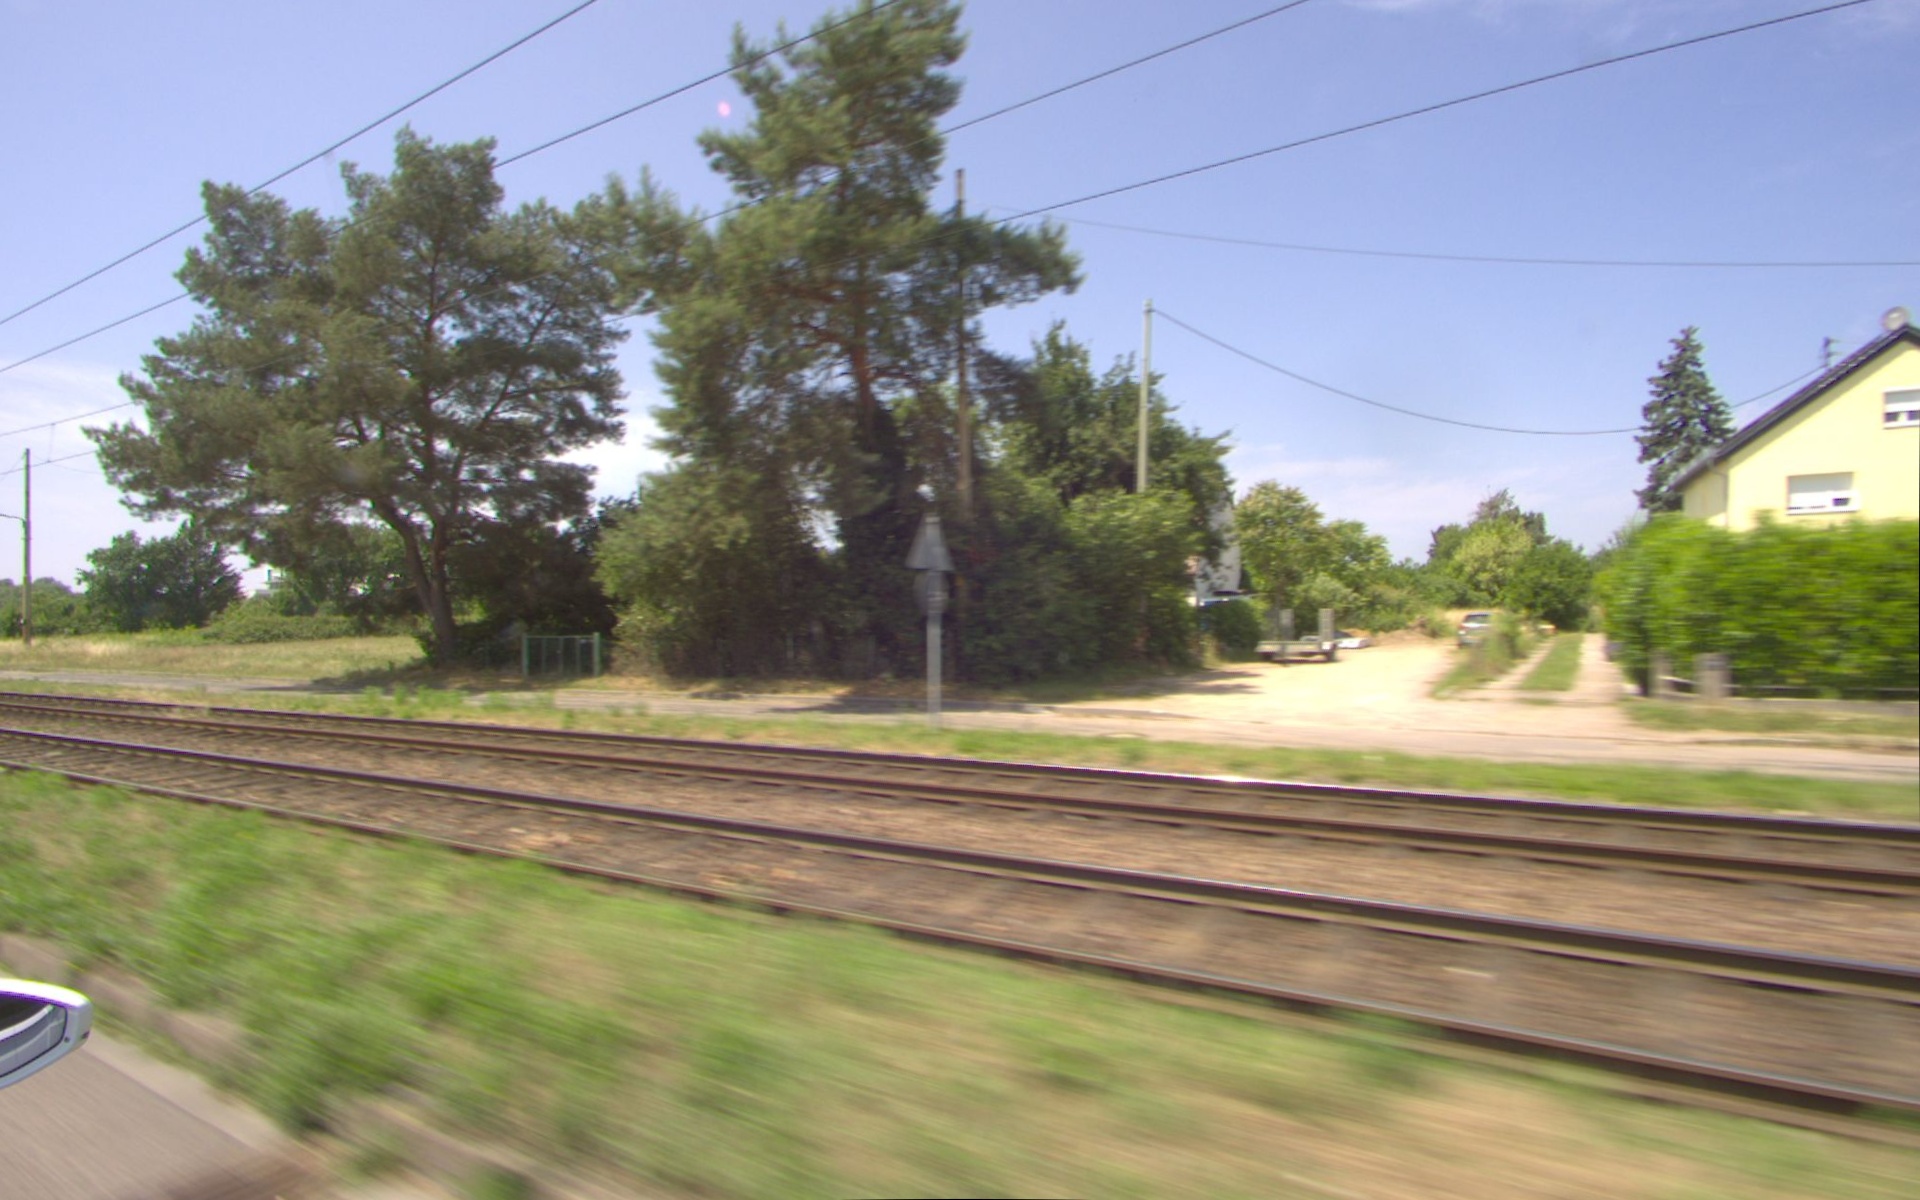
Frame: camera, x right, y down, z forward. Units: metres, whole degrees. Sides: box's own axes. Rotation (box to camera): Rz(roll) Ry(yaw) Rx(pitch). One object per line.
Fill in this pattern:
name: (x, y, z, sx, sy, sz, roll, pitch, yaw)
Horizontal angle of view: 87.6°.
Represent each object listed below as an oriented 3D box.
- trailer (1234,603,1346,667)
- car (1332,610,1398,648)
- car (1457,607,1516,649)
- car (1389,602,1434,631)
trailer: (10.632, 1.062, 31.964, 2.133, 1.830, 5.109, -2, -1, 33)
car: (18.054, 1.266, 44.547, 2.091, 1.551, 4.188, -2, -1, 30)
car: (21.641, 1.110, 41.115, 1.873, 1.594, 3.980, -2, -1, 31)
car: (24.085, 0.847, 53.298, 1.777, 1.438, 4.313, -2, -1, 29)
